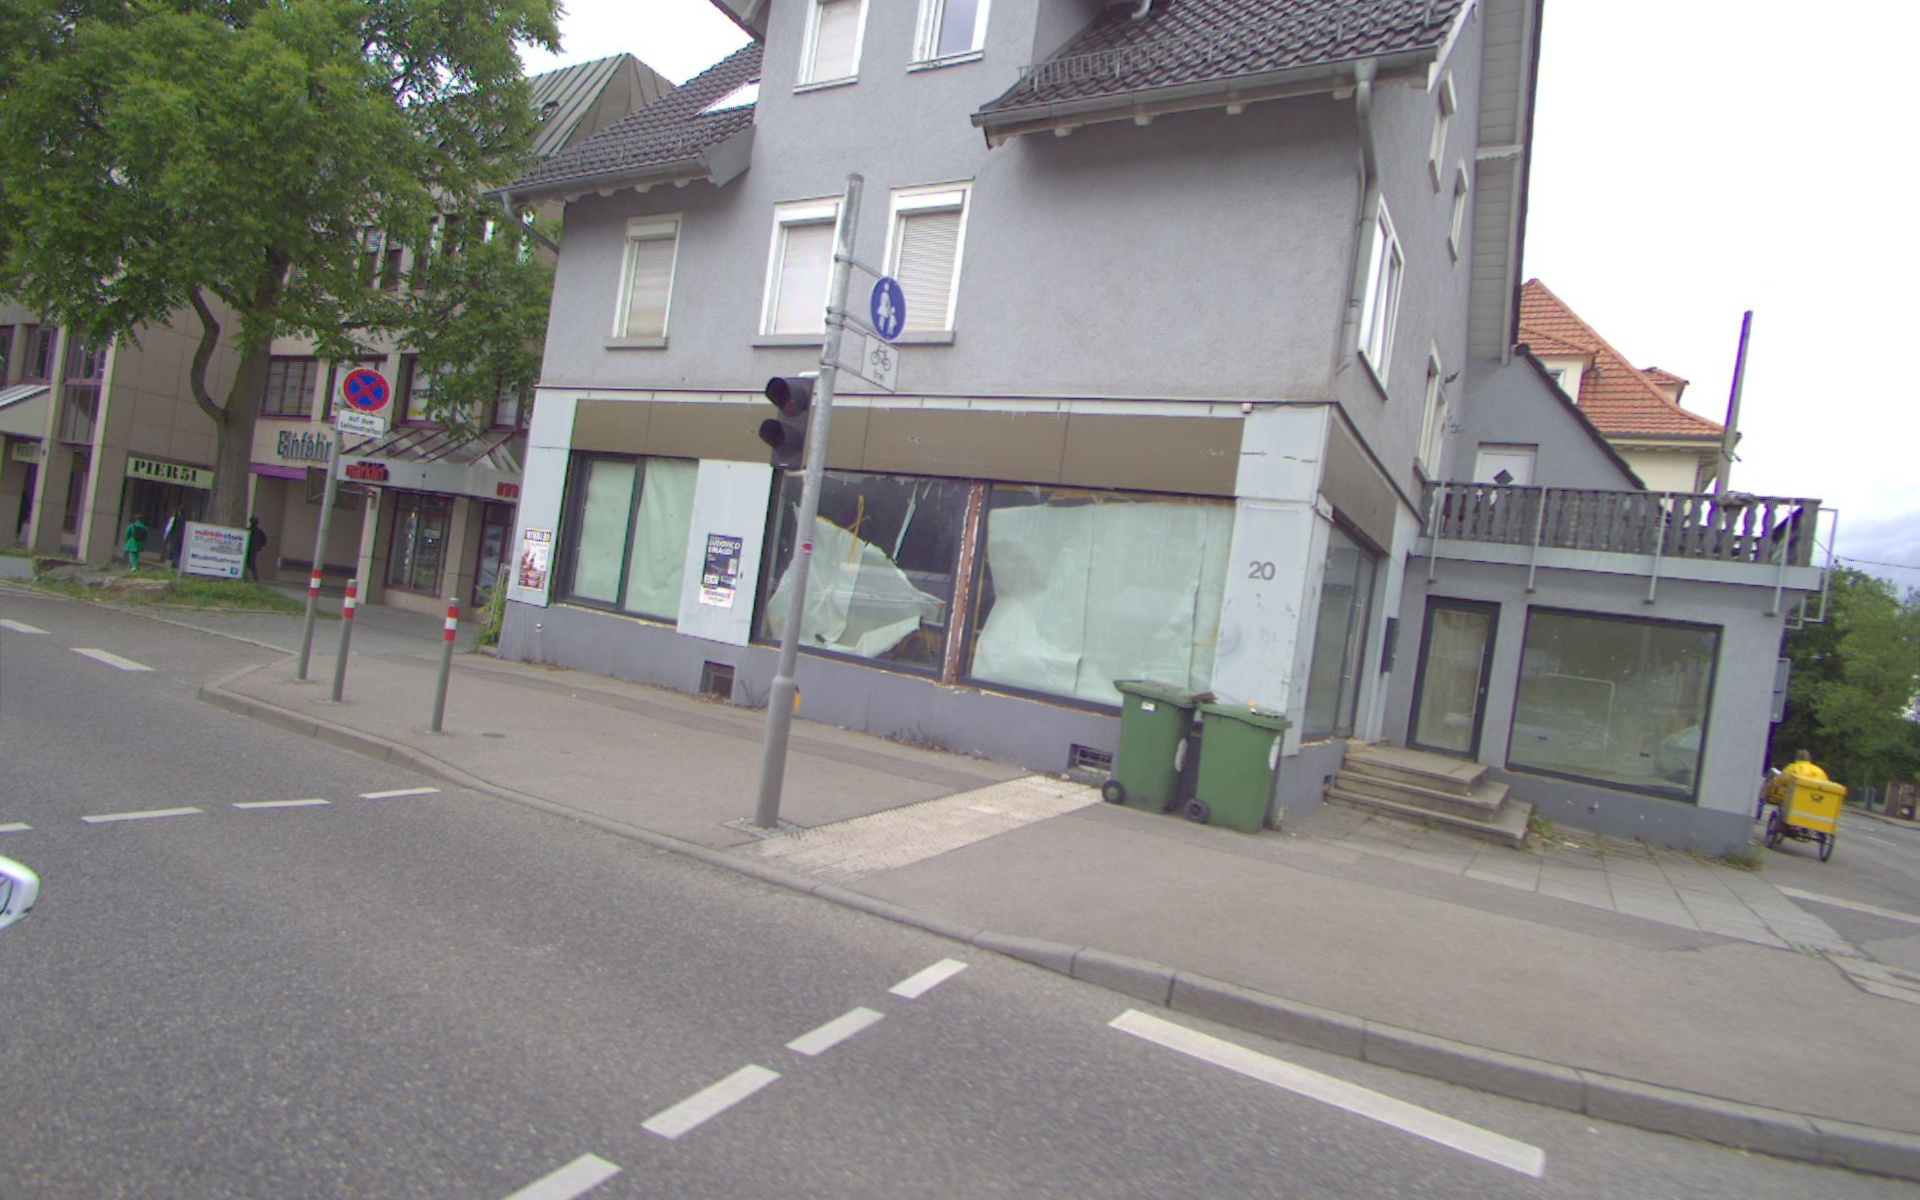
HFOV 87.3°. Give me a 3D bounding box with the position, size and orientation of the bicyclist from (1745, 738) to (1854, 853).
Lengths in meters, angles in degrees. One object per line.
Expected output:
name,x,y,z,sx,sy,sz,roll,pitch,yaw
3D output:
bicyclist,13.970,3.226,16.781,0.946,1.618,0.937,12,2,28

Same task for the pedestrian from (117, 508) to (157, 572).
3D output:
pedestrian,-21.415,-1.562,26.173,0.535,1.569,0.561,7,1,32

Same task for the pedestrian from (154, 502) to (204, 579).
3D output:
pedestrian,-19.998,-1.526,25.758,0.829,1.849,0.658,7,1,32

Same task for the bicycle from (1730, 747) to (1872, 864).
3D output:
bicycle,13.903,3.338,16.750,0.946,1.525,2.686,12,-1,26

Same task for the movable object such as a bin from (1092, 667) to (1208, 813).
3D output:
movable object such as a bin,1.653,1.195,8.730,0.698,1.117,0.609,7,-1,31

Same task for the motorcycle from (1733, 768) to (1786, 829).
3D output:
motorcycle,20.849,5.156,26.265,0.674,1.331,2.310,9,-1,33

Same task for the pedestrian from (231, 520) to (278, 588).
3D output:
pedestrian,-19.008,-1.243,27.103,0.829,1.712,0.658,7,1,32

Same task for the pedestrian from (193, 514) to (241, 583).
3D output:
pedestrian,-19.495,-1.348,26.402,0.829,1.712,0.658,7,1,32

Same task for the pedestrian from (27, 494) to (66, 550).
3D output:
pedestrian,-30.373,-2.598,33.432,0.954,1.725,0.595,7,0,33

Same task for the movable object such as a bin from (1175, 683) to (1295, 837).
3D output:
movable object such as a bin,2.278,1.295,8.320,0.698,1.117,0.627,7,-1,31

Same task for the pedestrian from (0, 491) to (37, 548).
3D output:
pedestrian,-30.765,-2.629,32.825,0.954,1.725,0.595,7,0,33
